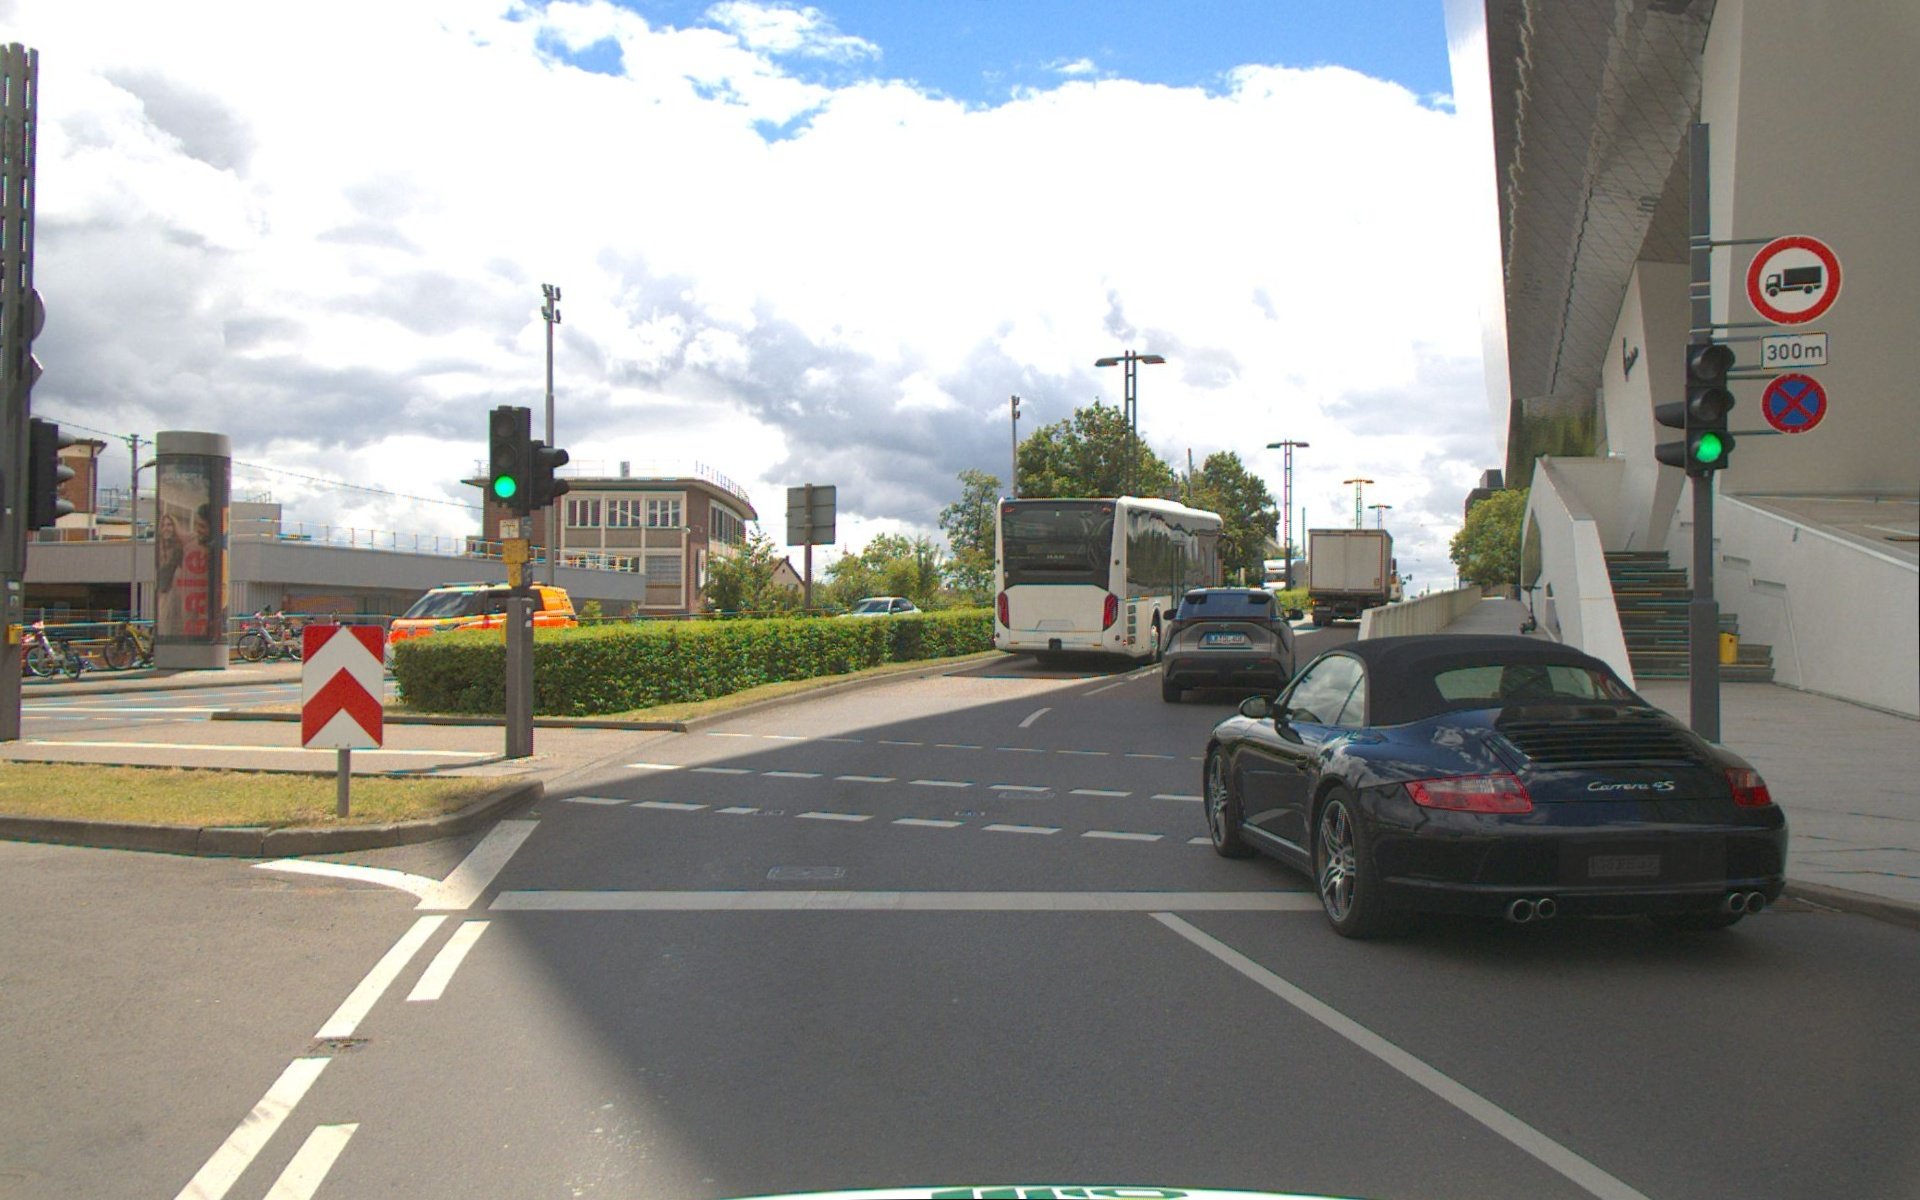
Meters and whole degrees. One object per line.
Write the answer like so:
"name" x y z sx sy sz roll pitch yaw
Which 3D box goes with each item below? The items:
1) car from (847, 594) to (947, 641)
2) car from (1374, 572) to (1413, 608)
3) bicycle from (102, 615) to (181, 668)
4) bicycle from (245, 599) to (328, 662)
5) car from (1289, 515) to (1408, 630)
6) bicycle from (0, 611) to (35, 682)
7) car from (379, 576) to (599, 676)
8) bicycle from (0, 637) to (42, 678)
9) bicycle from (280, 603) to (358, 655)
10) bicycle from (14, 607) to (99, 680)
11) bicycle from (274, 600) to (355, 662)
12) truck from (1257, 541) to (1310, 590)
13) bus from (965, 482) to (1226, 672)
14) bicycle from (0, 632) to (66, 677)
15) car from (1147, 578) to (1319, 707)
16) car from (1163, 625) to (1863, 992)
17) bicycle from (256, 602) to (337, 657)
"car" -2.051 0.553 55.578 1.718 1.422 4.675 1 1 20
"car" 25.858 -0.593 98.604 1.952 1.937 4.001 1 -2 18
"bicycle" -17.457 0.879 35.273 1.572 1.074 0.493 1 -2 18
"bicycle" -15.602 0.706 38.322 1.701 1.405 0.670 1 -2 18
"car" 14.030 -0.844 59.119 3.266 3.566 9.344 1 -2 18
"bicycle" -18.728 0.877 31.986 1.572 1.339 0.493 1 -2 18
"car" -10.113 0.555 35.913 1.953 2.018 4.834 -1 -1 24
"bicycle" -20.835 1.242 35.873 0.482 0.881 1.608 -1 -2 29
"bicycle" -15.508 0.691 40.016 1.701 1.203 0.670 1 -1 18
"bicycle" -18.108 0.865 33.138 1.572 1.407 0.493 1 -2 18
"bicycle" -15.317 0.737 39.245 1.701 1.405 0.670 1 -2 18
"truck" 23.346 -2.417 118.898 2.150 3.013 8.951 1 -2 21
"bus" 3.379 -0.594 36.038 3.007 3.420 12.231 1 2 17
"bicycle" -20.153 1.168 35.541 0.482 0.881 1.607 -1 1 31
"car" 4.071 0.538 24.186 1.951 1.665 4.003 1 1 17
"car" 2.376 0.810 8.295 1.799 1.348 3.994 0 -1 -7
"bicycle" -15.728 0.699 39.223 1.700 1.202 0.670 1 4 16
